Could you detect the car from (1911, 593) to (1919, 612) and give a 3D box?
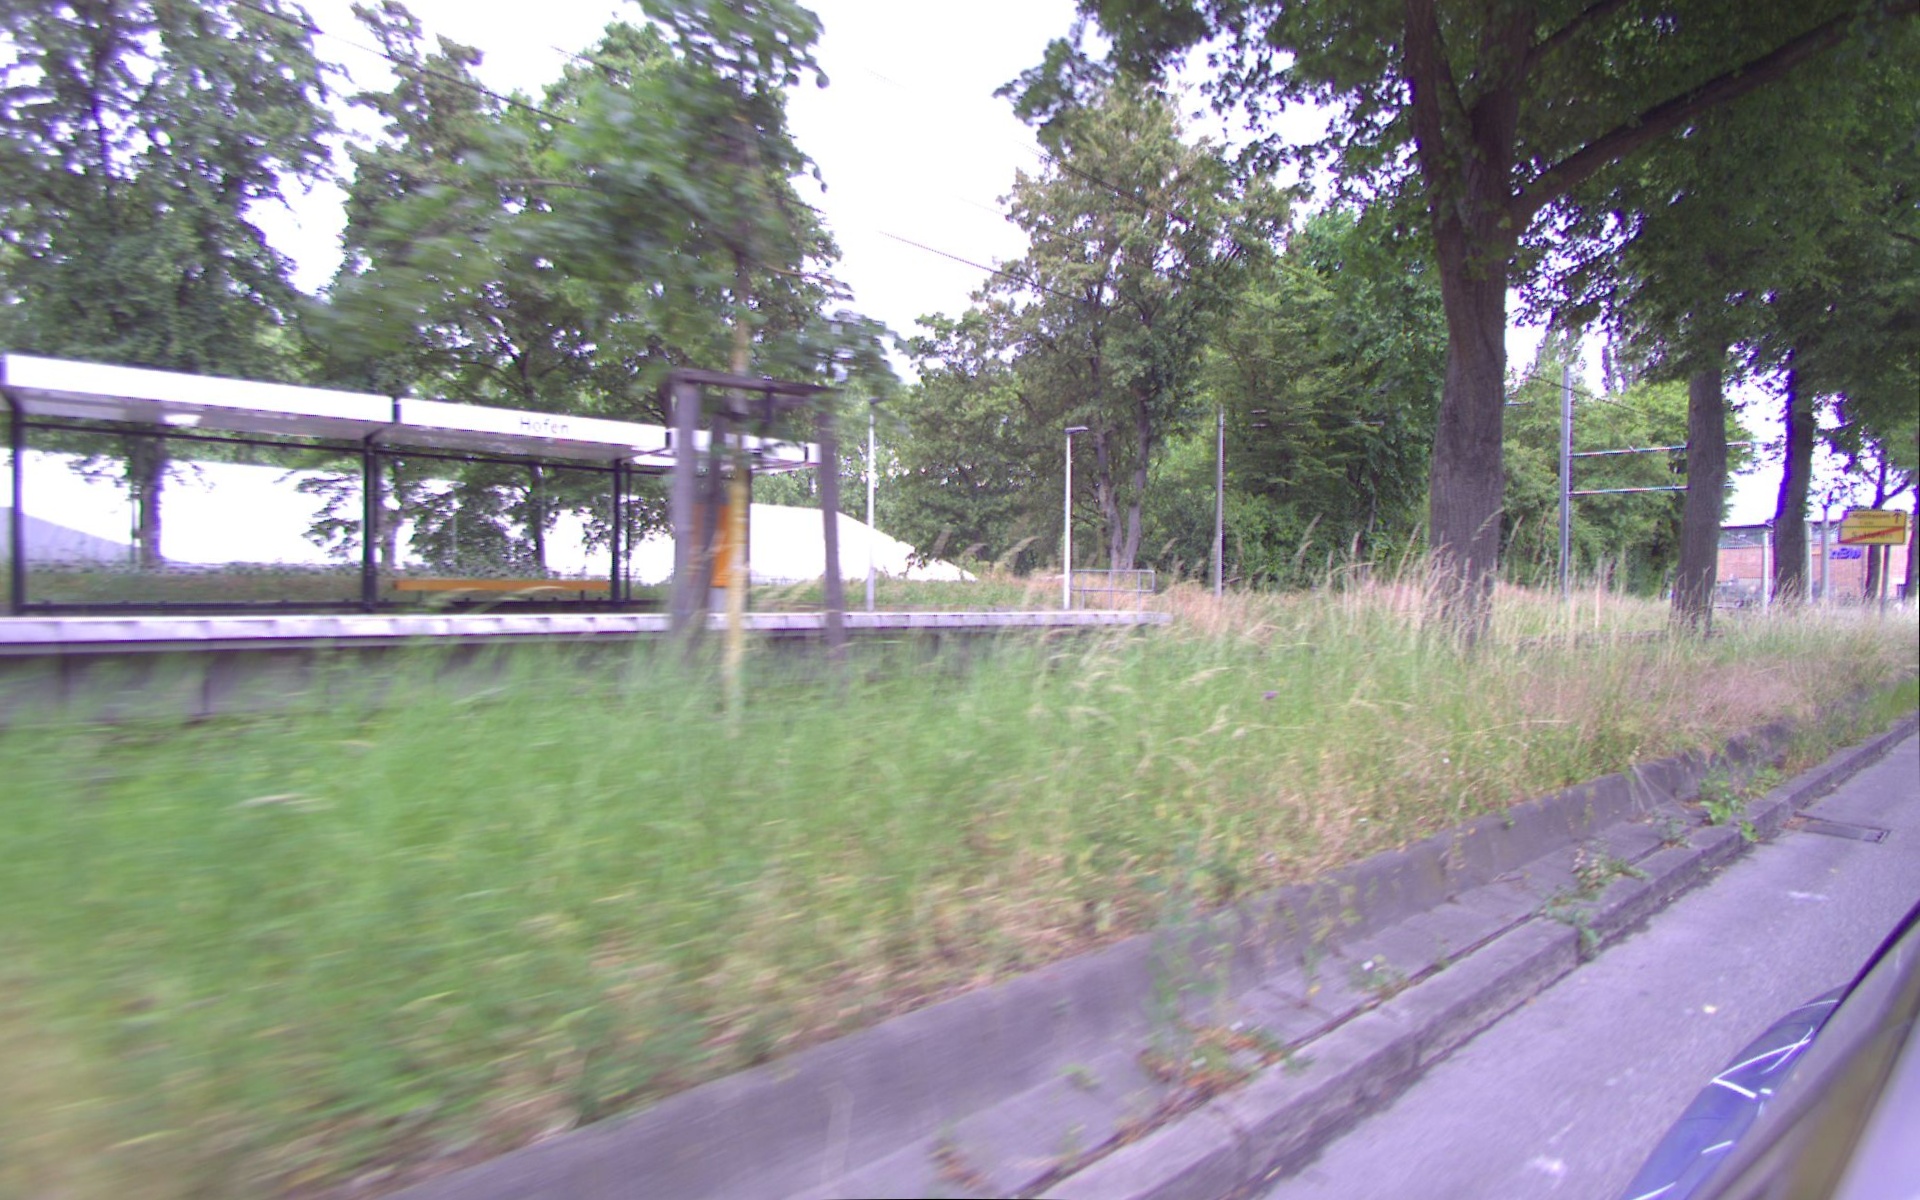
[{"bbox_3d":[76.523,0.198,79.259,1.565,1.484,3.673,0,0,19],"label":"car"}]

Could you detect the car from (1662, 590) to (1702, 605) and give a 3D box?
[{"bbox_3d":[78.821,-0.249,110.582,1.555,1.505,3.697,-1,-1,-2],"label":"car"}]

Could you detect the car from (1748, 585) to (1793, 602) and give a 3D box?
[{"bbox_3d":[79.146,-0.651,98.876,1.698,1.627,4.002,0,0,10],"label":"car"}]
